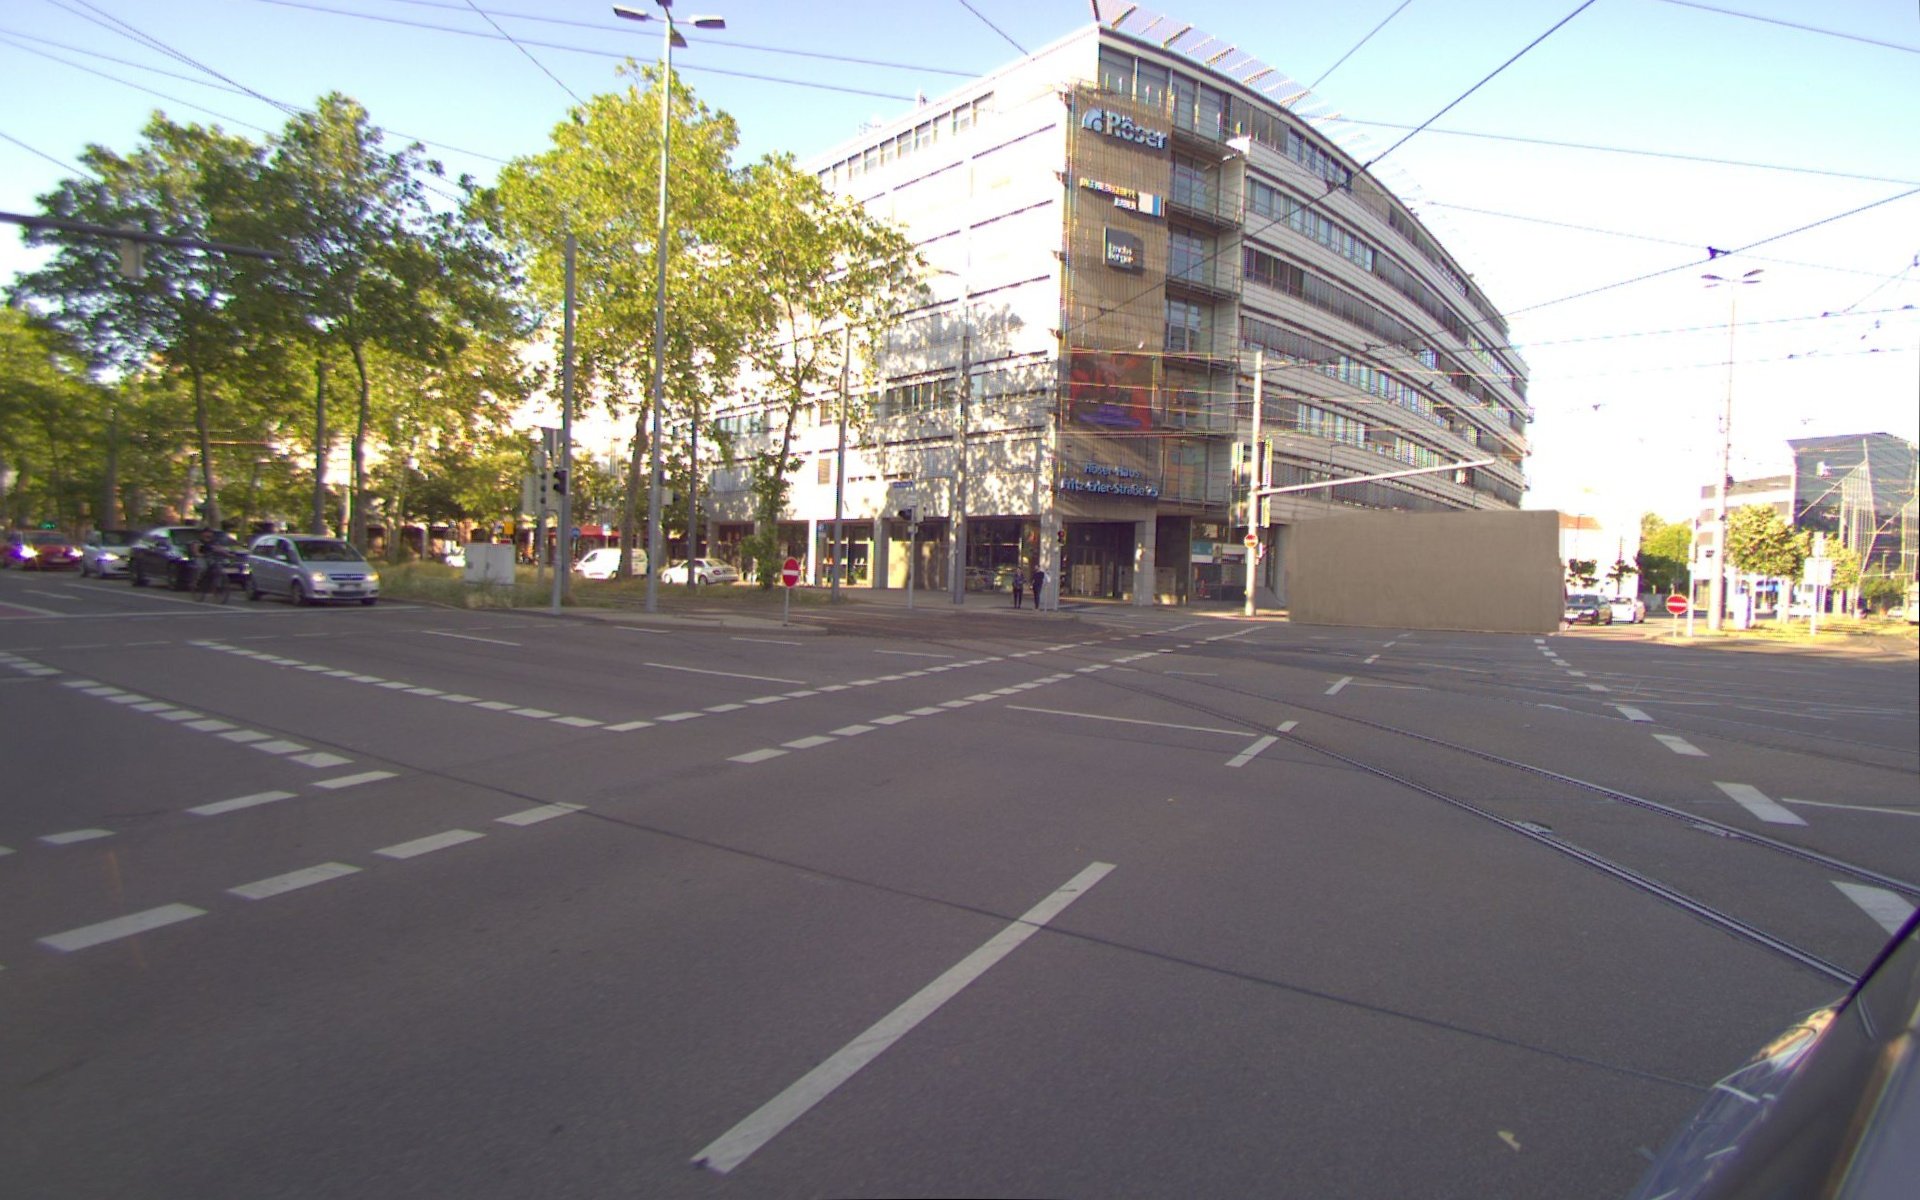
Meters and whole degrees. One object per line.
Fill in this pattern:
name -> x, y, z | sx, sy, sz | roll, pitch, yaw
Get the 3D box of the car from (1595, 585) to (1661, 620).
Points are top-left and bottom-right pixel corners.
car -> 34.764, 0.128, 52.616 | 4.100, 1.641, 1.901 | 2, 2, -43

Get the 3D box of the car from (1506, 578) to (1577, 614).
car -> 29.168, -0.202, 50.697 | 4.100, 1.641, 1.901 | 2, 2, -43

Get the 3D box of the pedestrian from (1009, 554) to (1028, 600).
pedestrian -> 2.384, -0.937, 41.009 | 0.582, 1.846, 0.541 | 3, 2, 20

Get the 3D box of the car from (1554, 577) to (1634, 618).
car -> 28.786, -0.095, 45.912 | 4.446, 1.641, 1.901 | 2, 2, -43

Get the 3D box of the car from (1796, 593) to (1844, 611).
car -> 103.732, 0.254, 122.156 | 3.964, 1.882, 1.981 | 3, 2, 28

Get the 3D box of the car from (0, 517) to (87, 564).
car -> -33.790, -2.184, 37.047 | 4.300, 1.571, 1.836 | 4, 3, 36

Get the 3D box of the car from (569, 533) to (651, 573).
car -> -19.049, -2.555, 55.023 | 4.357, 2.038, 1.976 | 4, 3, 34

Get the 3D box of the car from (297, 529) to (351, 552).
car -> -48.476, -4.533, 77.123 | 4.306, 1.571, 2.238 | 4, 3, 39

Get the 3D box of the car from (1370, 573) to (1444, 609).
car -> 22.681, -0.438, 51.269 | 4.100, 1.641, 1.901 | 2, 2, -43

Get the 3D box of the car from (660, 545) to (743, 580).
car -> -13.167, -1.912, 51.448 | 4.302, 1.571, 1.835 | 4, 3, 37

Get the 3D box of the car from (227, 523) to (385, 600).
car -> -15.503, -0.944, 23.918 | 4.300, 1.616, 1.713 | 4, 3, 36

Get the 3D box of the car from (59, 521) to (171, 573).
car -> -27.849, -1.754, 33.324 | 4.300, 1.571, 1.836 | 4, 3, 36

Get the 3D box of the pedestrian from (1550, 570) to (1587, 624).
pedestrian -> 21.791, -0.107, 36.276 | 0.956, 1.865, 0.694 | 3, 2, 22

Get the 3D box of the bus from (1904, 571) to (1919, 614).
bus -> 80.945, -0.511, 84.120 | 2.714, 3.450, 9.531 | 4, 2, 38

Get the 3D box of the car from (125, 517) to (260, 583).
car -> -21.349, -1.408, 28.089 | 4.300, 1.671, 1.836 | 4, 3, 36

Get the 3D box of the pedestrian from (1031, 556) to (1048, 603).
pedestrian -> 3.213, -0.829, 40.650 | 0.540, 1.846, 0.372 | 3, 2, 20

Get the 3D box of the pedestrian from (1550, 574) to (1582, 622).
pedestrian -> 22.085, -0.075, 36.917 | 0.837, 1.708, 0.643 | 3, 2, 24

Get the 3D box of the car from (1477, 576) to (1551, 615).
car -> 26.229, -0.201, 47.894 | 3.800, 1.641, 1.901 | 2, 2, -43
